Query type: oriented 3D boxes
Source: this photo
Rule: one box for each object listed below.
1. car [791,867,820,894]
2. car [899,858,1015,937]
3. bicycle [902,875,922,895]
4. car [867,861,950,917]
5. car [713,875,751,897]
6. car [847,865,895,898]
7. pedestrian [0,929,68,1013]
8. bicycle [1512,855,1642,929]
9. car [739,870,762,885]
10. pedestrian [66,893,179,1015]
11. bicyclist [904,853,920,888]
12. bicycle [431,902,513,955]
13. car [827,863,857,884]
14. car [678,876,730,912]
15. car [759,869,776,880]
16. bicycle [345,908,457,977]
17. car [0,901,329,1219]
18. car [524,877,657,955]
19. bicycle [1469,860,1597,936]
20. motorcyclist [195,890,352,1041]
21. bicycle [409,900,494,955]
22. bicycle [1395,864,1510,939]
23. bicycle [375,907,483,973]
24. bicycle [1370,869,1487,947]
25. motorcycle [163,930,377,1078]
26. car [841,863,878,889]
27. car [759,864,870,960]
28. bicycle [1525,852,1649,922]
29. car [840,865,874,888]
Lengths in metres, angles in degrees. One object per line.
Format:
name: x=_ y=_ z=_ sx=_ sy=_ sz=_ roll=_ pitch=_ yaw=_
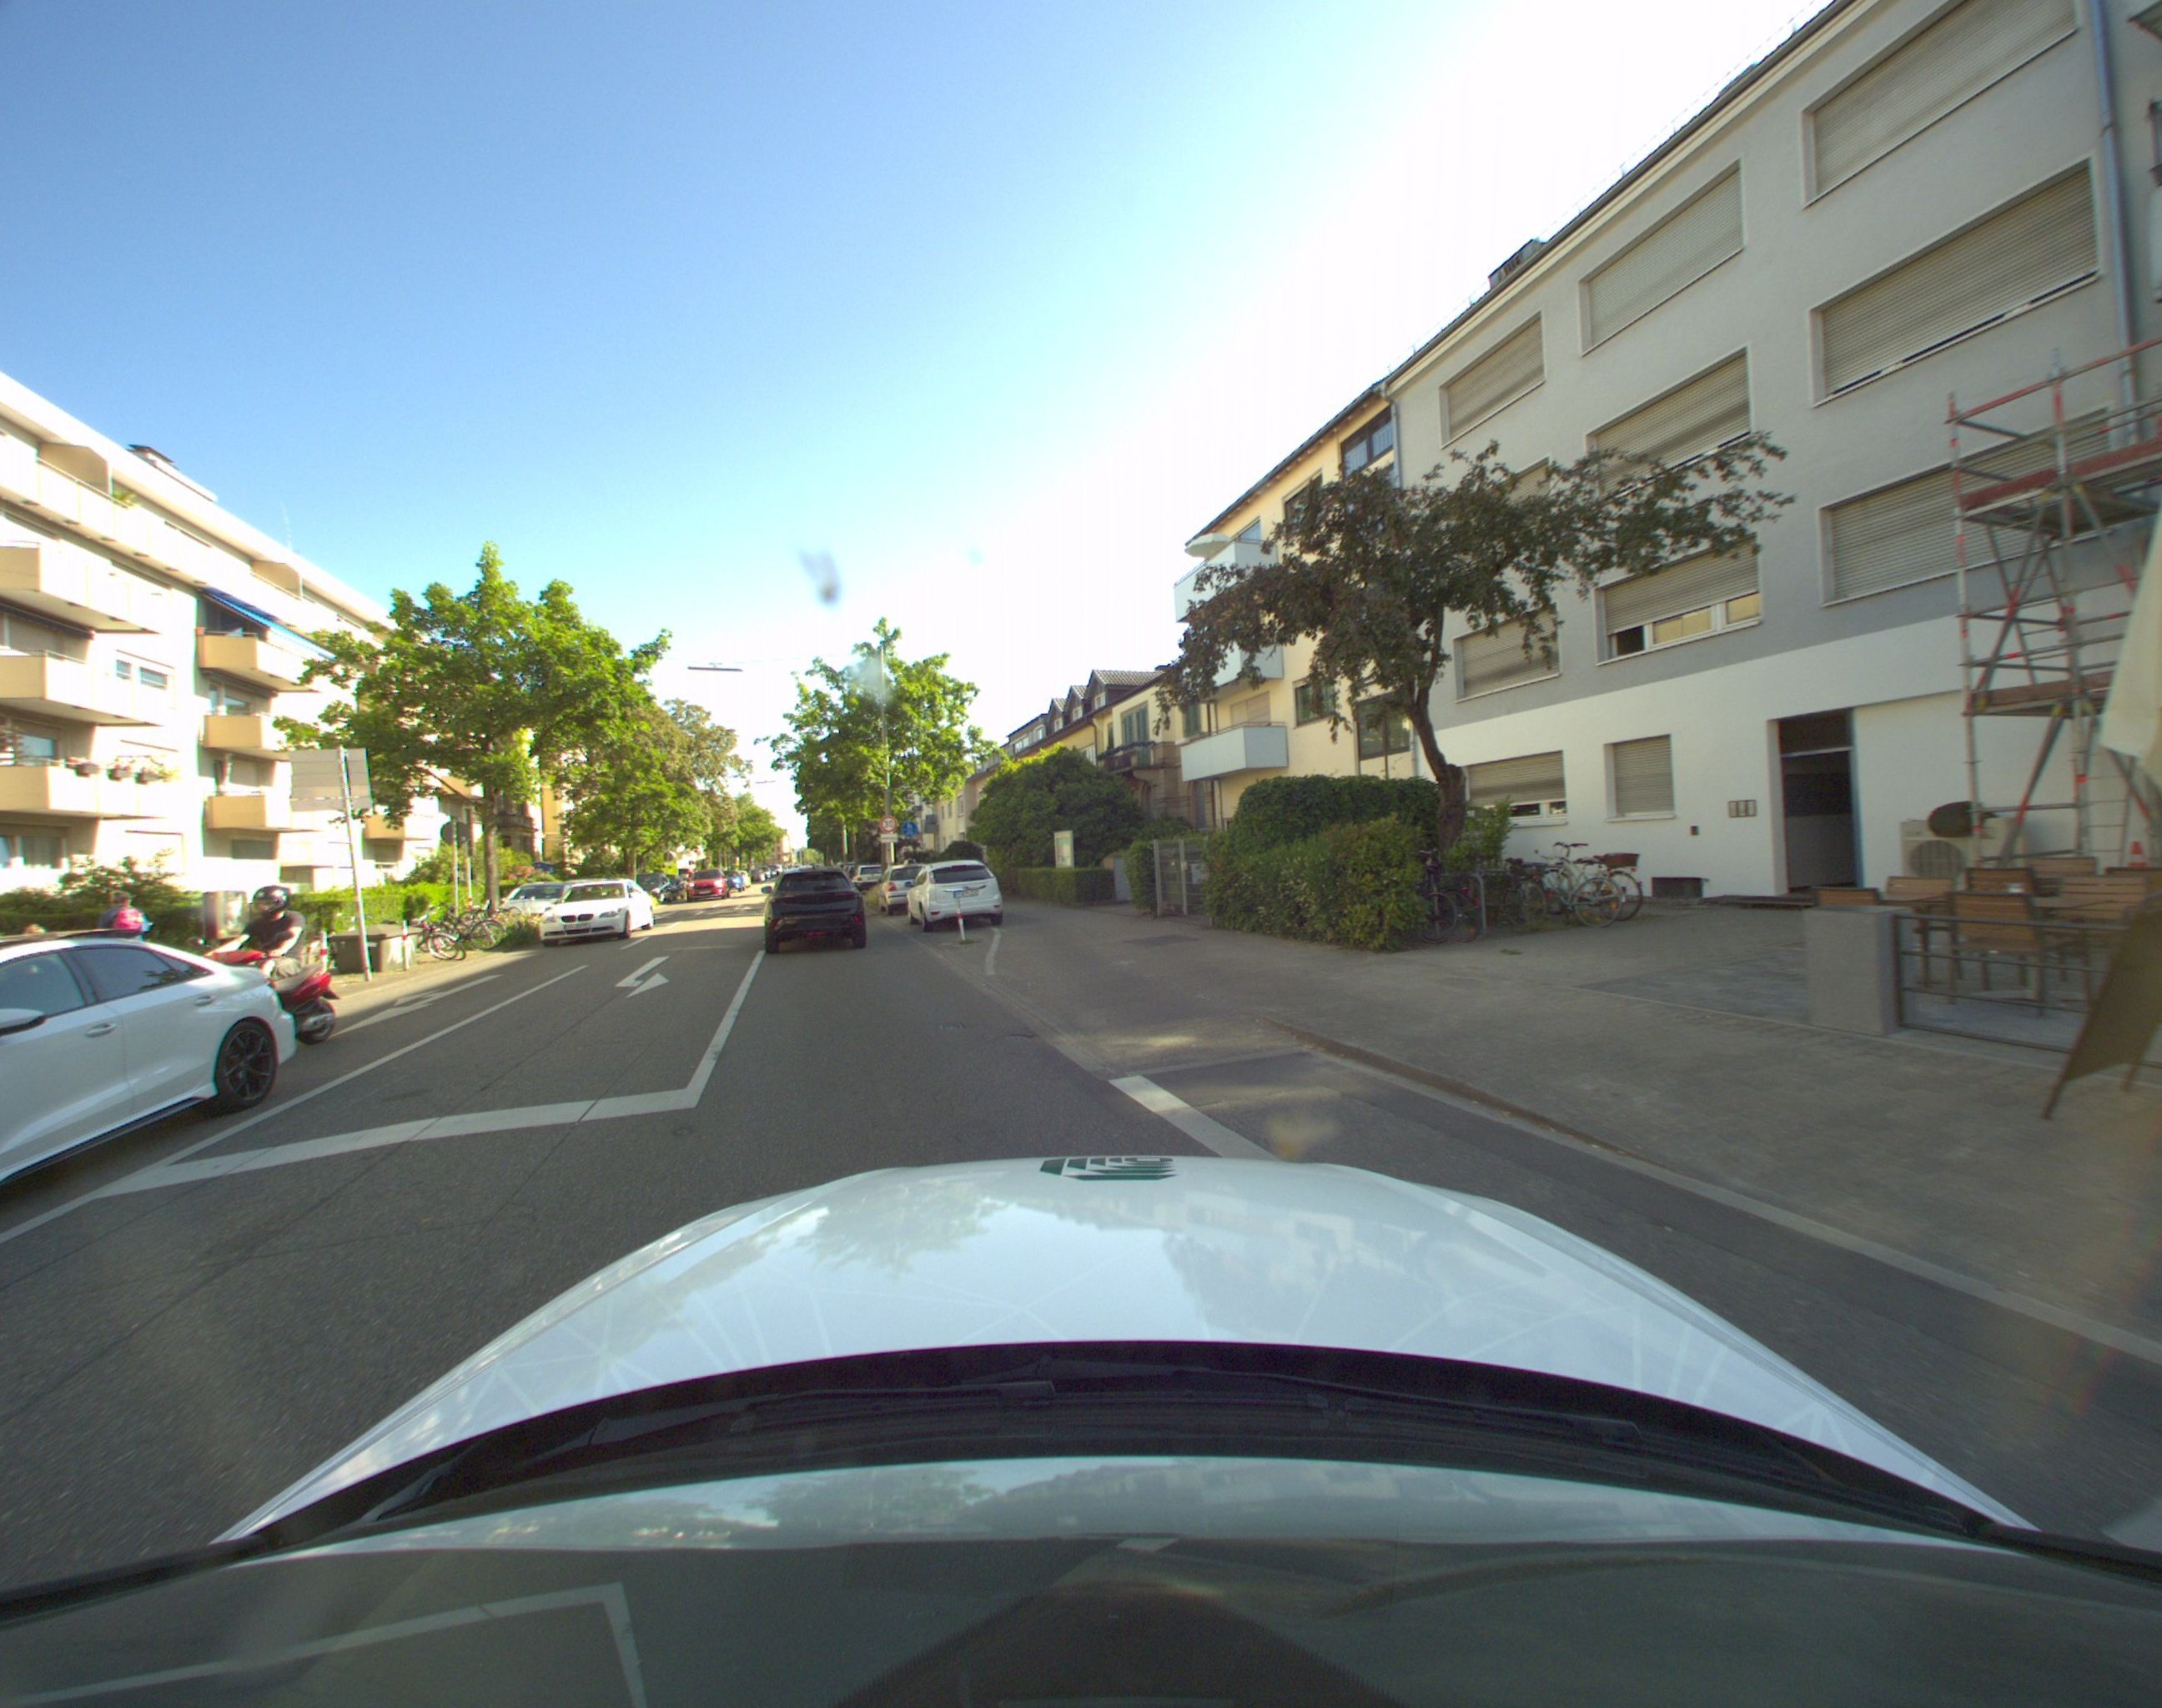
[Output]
car: x=-17.528 y=1.660 z=51.944 sx=1.596 sy=1.566 sz=4.065 roll=-2 pitch=-1 yaw=-17
car: x=-3.033 y=0.947 z=19.183 sx=1.916 sy=1.519 sz=3.973 roll=-4 pitch=0 yaw=-20
bicycle: x=-7.712 y=1.407 z=37.159 sx=0.555 sy=0.833 sz=2.117 roll=-3 pitch=1 yaw=-20
car: x=-5.492 y=1.051 z=25.568 sx=1.916 sy=1.430 sz=3.973 roll=-6 pitch=1 yaw=-20
car: x=-23.669 y=2.139 z=55.310 sx=1.814 sy=1.282 sz=4.223 roll=-5 pitch=1 yaw=-17
car: x=-10.657 y=1.351 z=41.109 sx=1.916 sy=1.430 sz=3.973 roll=-6 pitch=1 yaw=-20
pedestrian: x=-15.715 y=1.739 z=12.196 sx=0.386 sy=1.146 sz=0.530 roll=-3 pitch=0 yaw=-11
bicycle: x=6.921 y=0.509 z=11.447 sx=0.512 sy=0.940 sz=1.585 roll=-3 pitch=0 yaw=-17
car: x=-34.604 y=2.429 z=85.395 sx=1.814 sy=1.388 sz=4.223 roll=-5 pitch=1 yaw=-17
pedestrian: x=-14.430 y=1.465 z=12.290 sx=0.573 sy=1.683 sz=0.964 roll=-3 pitch=0 yaw=-12
bicyclist: x=-7.699 y=0.757 z=37.045 sx=0.555 sy=1.549 sz=0.809 roll=-3 pitch=0 yaw=-20
bicycle: x=-14.408 y=1.769 z=19.291 sx=1.567 sy=1.162 sz=0.448 roll=-3 pitch=-8 yaw=3
car: x=-18.557 y=1.496 z=63.241 sx=1.916 sy=1.430 sz=3.973 roll=-6 pitch=1 yaw=-20
car: x=-19.661 y=2.032 z=42.601 sx=1.814 sy=1.558 sz=4.223 roll=-5 pitch=1 yaw=-17
car: x=-44.026 y=2.829 z=114.450 sx=1.814 sy=1.388 sz=4.223 roll=-5 pitch=1 yaw=-18
bicycle: x=-13.265 y=1.727 z=15.917 sx=1.567 sy=1.159 sz=0.449 roll=-3 pitch=14 yaw=3
car: x=-6.573 y=1.192 z=4.488 sx=1.935 sy=1.435 sz=4.239 roll=-7 pitch=2 yaw=-20
car: x=-12.338 y=1.471 z=20.799 sx=1.814 sy=1.558 sz=4.223 roll=-5 pitch=1 yaw=-17
bicycle: x=6.121 y=0.573 z=11.125 sx=0.512 sy=0.940 sz=1.585 roll=-3 pitch=0 yaw=-17
motorcyclist: x=-8.151 y=1.088 z=8.270 sx=0.757 sy=1.356 sz=0.787 roll=-5 pitch=0 yaw=-17
bicycle: x=-14.531 y=1.702 z=18.806 sx=1.567 sy=1.162 sz=0.448 roll=-3 pitch=-8 yaw=3
bicycle: x=5.169 y=0.636 z=11.434 sx=0.512 sy=0.940 sz=1.585 roll=-3 pitch=0 yaw=-17
bicycle: x=-13.202 y=1.740 z=16.519 sx=1.567 sy=1.159 sz=0.449 roll=-3 pitch=14 yaw=3
bicycle: x=4.629 y=0.684 z=10.962 sx=0.512 sy=0.940 sz=1.585 roll=-3 pitch=0 yaw=-17
motorcycle: x=-8.128 y=1.443 z=8.282 sx=0.748 sy=1.134 sz=1.674 roll=-5 pitch=0 yaw=-16
car: x=-14.408 y=1.420 z=52.861 sx=1.916 sy=1.430 sz=3.973 roll=-6 pitch=1 yaw=-20
car: x=-5.292 y=1.029 z=16.120 sx=1.768 sy=1.558 sz=3.974 roll=-3 pitch=0 yaw=-19
bicycle: x=7.443 y=0.472 z=12.068 sx=0.512 sy=0.940 sz=1.585 roll=-3 pitch=0 yaw=-17
car: x=-15.929 y=1.580 z=57.712 sx=1.916 sy=1.430 sz=3.973 roll=-6 pitch=1 yaw=-20
